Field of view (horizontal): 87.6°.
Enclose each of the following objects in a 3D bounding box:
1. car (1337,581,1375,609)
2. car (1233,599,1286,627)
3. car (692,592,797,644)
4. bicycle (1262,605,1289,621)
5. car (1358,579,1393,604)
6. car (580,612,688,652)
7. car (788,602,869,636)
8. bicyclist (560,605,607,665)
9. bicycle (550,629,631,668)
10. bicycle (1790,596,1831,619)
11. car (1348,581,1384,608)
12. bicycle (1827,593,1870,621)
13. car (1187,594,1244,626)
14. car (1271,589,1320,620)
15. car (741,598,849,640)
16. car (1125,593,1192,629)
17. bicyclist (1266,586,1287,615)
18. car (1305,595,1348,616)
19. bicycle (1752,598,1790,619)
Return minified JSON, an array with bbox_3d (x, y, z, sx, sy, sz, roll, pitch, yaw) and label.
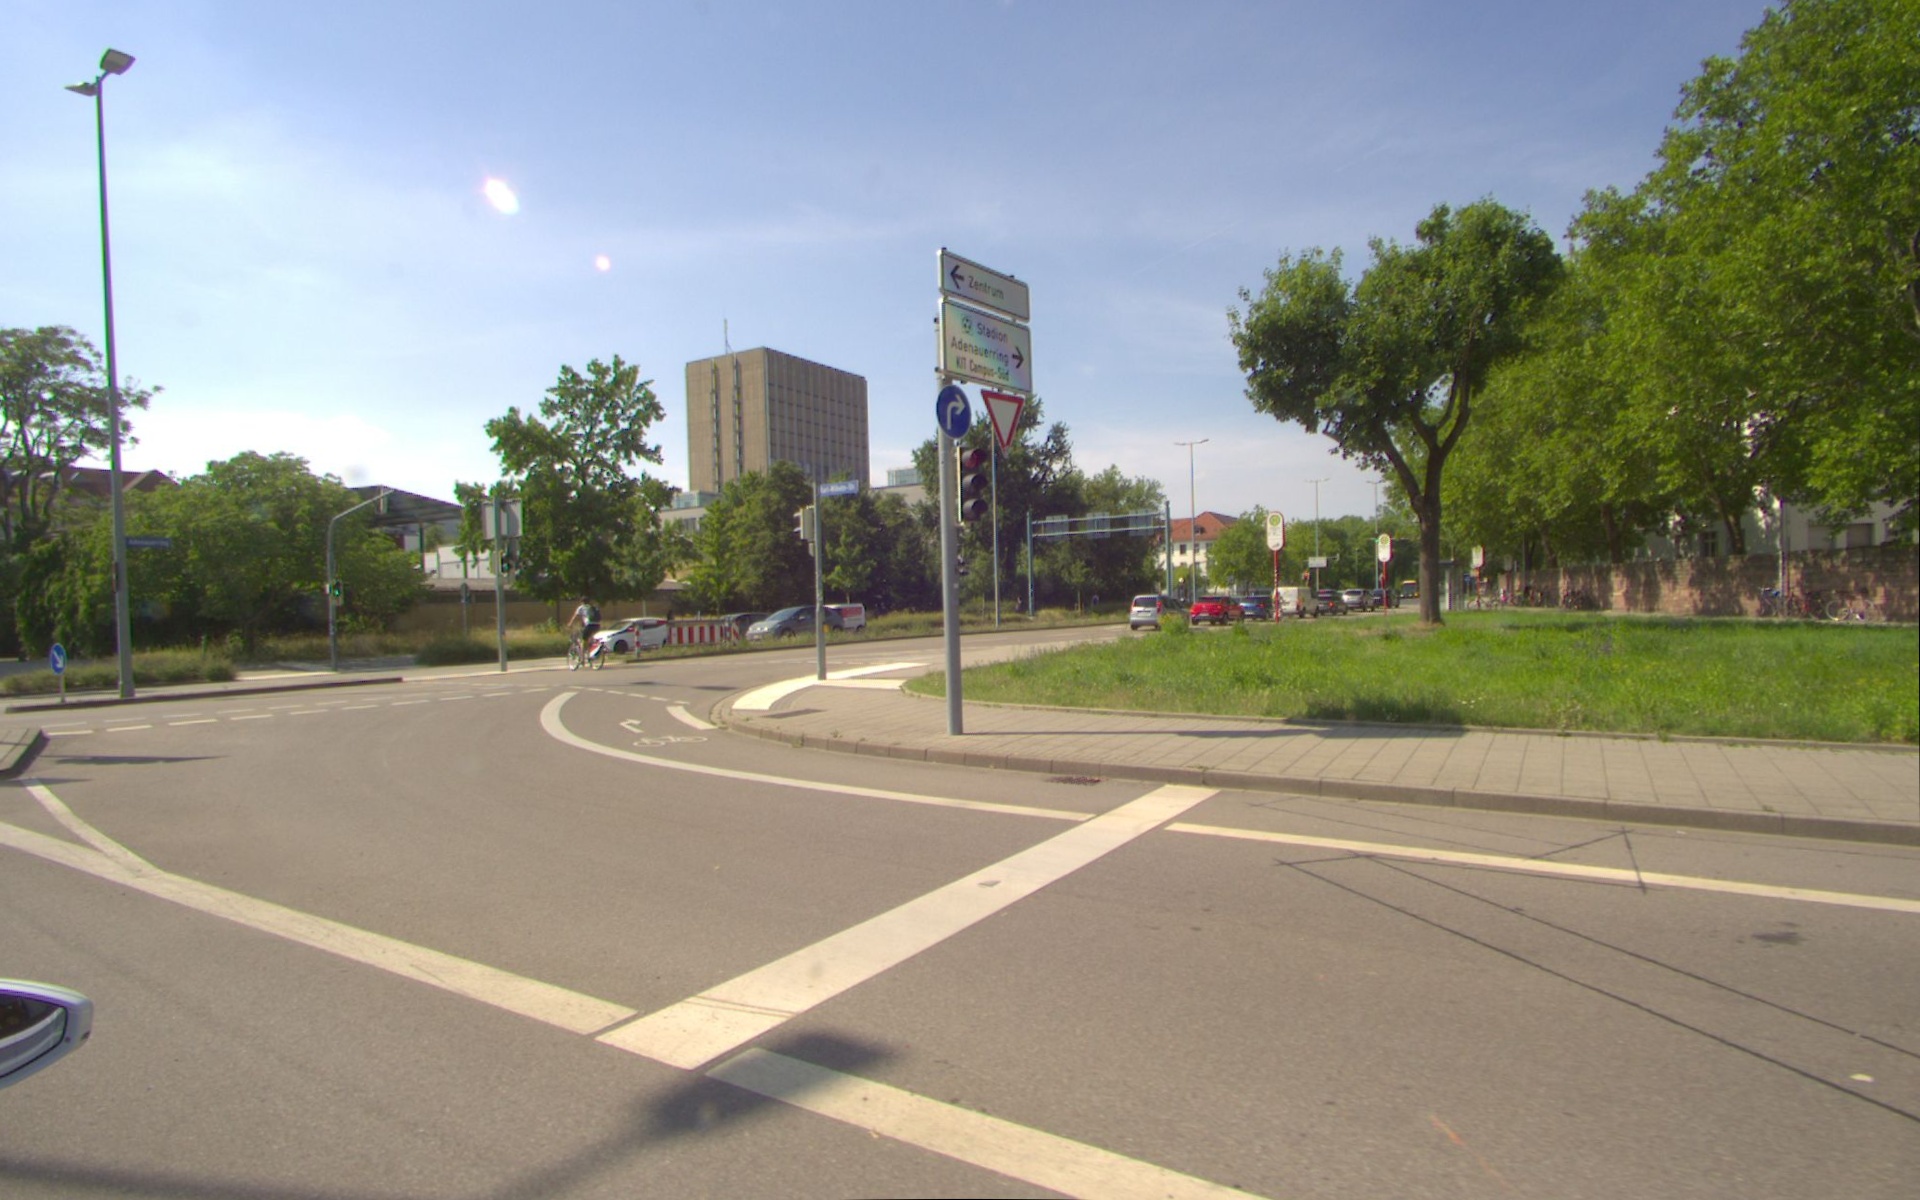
[{"bbox_3d":[30.333,-0.396,76.563,1.972,2.040,3.977,-1,1,32],"label":"car"},{"bbox_3d":[17.359,0.718,57.927,1.729,1.494,3.973,-1,1,36],"label":"car"},{"bbox_3d":[-9.123,0.739,42.539,1.976,2.040,3.971,-3,-1,37],"label":"car"},{"bbox_3d":[16.519,0.660,52.348,0.554,0.803,1.878,1,2,44],"label":"bicycle"},{"bbox_3d":[34.862,-0.735,84.045,1.973,2.040,3.975,-1,1,34],"label":"car"},{"bbox_3d":[-13.650,1.327,42.132,1.972,1.483,3.978,-2,0,32],"label":"car"},{"bbox_3d":[-6.759,0.954,52.035,1.883,1.590,4.300,-1,1,32],"label":"car"},{"bbox_3d":[-9.496,0.887,25.242,1.126,1.489,0.494,-2,-1,29],"label":"bicyclist"},{"bbox_3d":[-9.314,1.218,25.195,2.136,0.928,0.671,-1,1,30],"label":"bicycle"},{"bbox_3d":[28.583,0.234,33.658,0.334,0.738,1.364,-1,1,5],"label":"bicycle"},{"bbox_3d":[32.900,-0.470,81.085,1.973,2.040,3.975,-1,1,34],"label":"car"},{"bbox_3d":[28.426,0.202,32.060,0.365,0.867,1.307,-1,1,7],"label":"bicycle"},{"bbox_3d":[13.269,0.522,51.807,1.727,1.528,3.977,-1,1,32],"label":"car"},{"bbox_3d":[21.228,0.268,63.296,1.729,1.781,4.402,-1,1,36],"label":"car"},{"bbox_3d":[-6.301,0.703,38.682,1.619,1.424,4.080,-3,-1,37],"label":"car"},{"bbox_3d":[9.238,0.497,46.385,1.727,1.528,3.977,-1,1,32],"label":"car"},{"bbox_3d":[16.530,0.040,52.341,0.558,1.494,1.158,0,2,44],"label":"bicyclist"},{"bbox_3d":[25.290,0.379,69.042,1.729,1.357,3.973,-1,1,36],"label":"car"},{"bbox_3d":[28.568,0.294,35.277,0.334,0.738,1.364,-1,1,5],"label":"bicycle"}]
